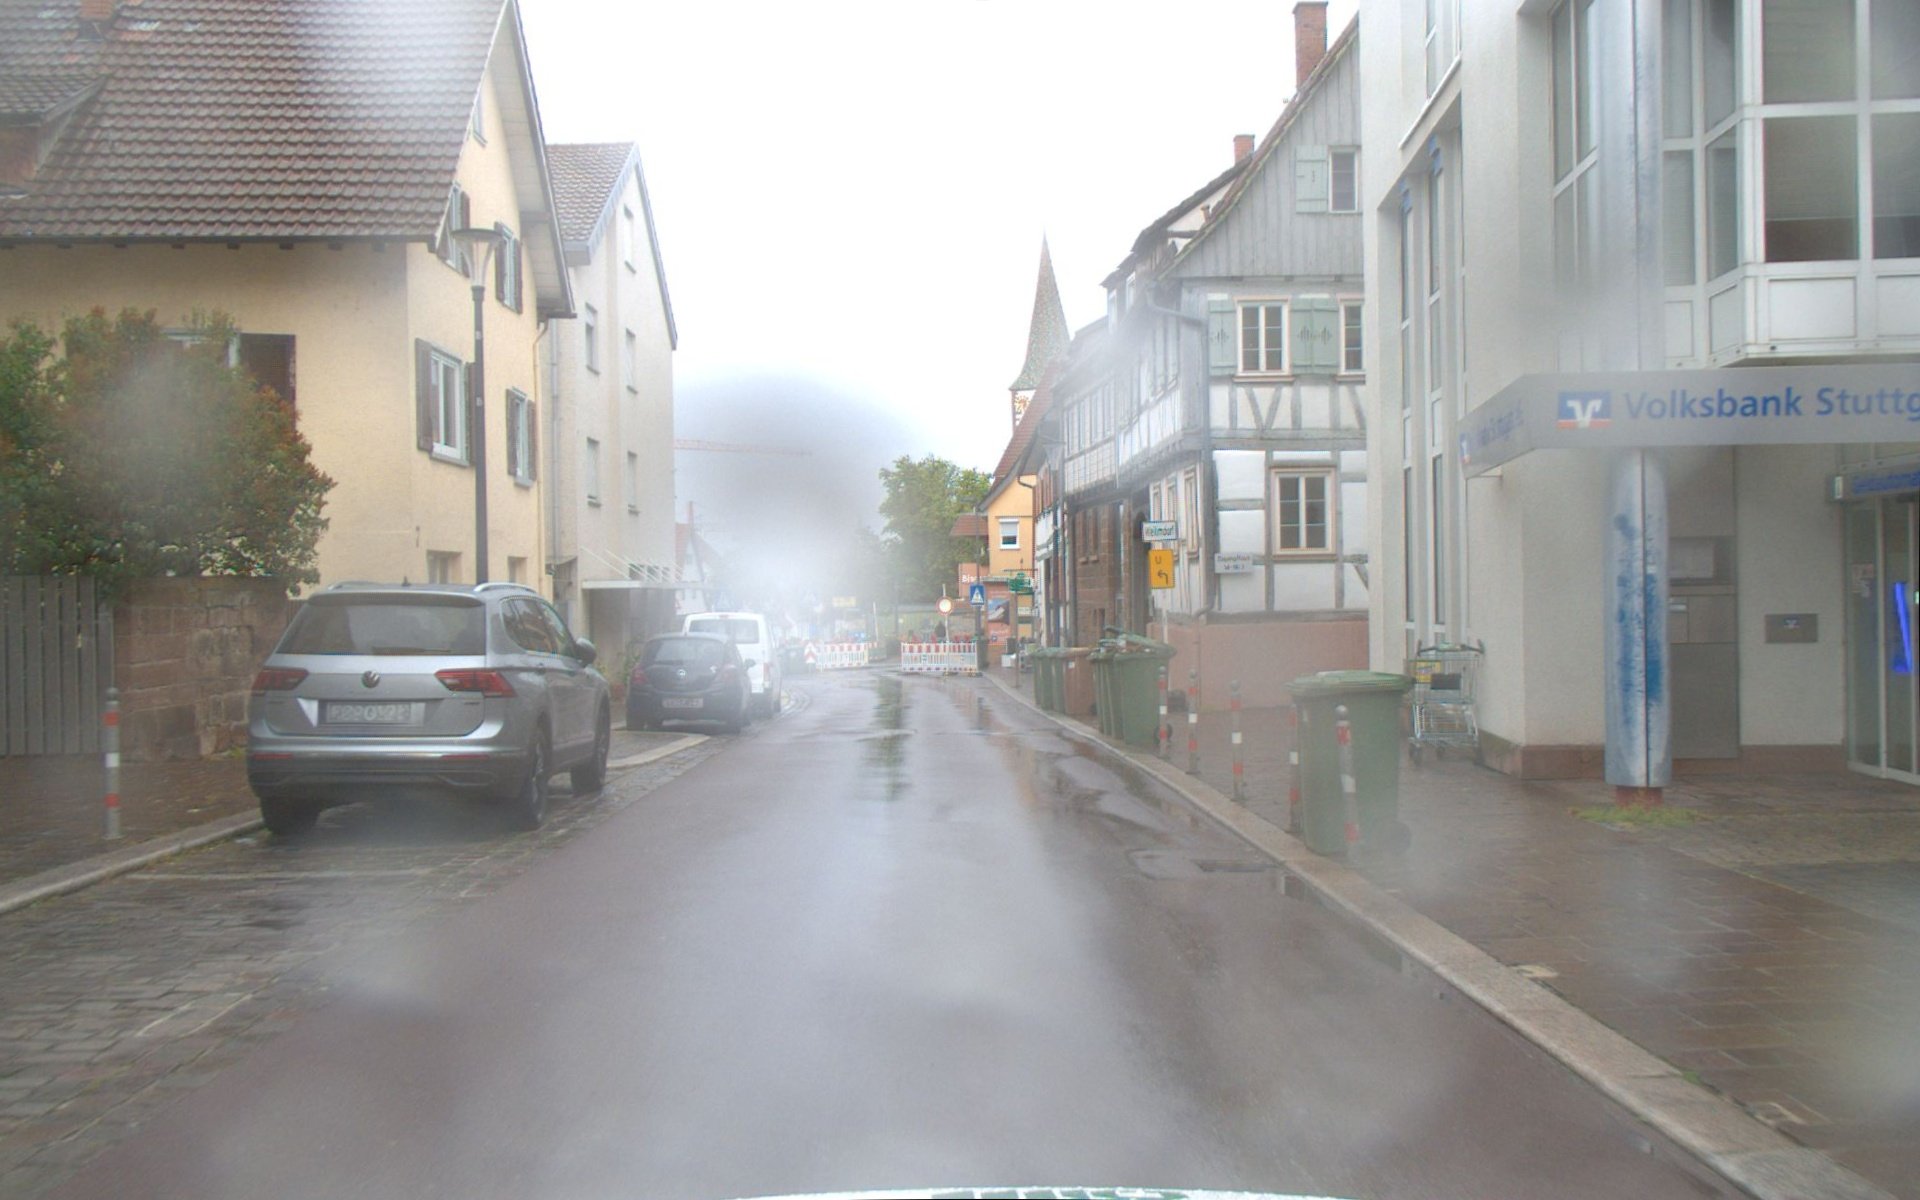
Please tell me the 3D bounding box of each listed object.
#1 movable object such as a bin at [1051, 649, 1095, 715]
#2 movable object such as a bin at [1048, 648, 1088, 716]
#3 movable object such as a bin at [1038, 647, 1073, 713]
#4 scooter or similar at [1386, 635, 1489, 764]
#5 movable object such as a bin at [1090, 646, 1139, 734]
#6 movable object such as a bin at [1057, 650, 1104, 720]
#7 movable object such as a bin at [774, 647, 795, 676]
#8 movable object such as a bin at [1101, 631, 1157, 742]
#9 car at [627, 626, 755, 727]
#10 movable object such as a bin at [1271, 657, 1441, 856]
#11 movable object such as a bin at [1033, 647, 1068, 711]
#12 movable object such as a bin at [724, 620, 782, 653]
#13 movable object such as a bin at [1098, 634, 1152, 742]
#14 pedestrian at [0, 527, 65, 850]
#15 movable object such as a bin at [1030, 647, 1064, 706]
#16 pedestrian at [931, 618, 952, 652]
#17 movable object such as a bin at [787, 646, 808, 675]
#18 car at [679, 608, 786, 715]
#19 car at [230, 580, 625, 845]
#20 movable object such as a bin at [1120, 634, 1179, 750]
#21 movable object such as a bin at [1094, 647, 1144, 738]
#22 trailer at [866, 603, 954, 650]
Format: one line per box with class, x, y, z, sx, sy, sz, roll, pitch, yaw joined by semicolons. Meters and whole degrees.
movable object such as a bin;1.950;1.406;28.533;0.656;1.100;0.587;-2;-2;-4
movable object such as a bin;1.903;1.442;29.232;0.625;1.167;0.631;0;-2;-4
movable object such as a bin;1.726;1.442;29.892;0.624;1.167;0.604;-1;-2;3
scooter or similar;4.497;0.918;15.647;0.651;1.166;1.446;-1;-2;5
movable object such as a bin;2.051;1.190;22.016;0.603;1.151;0.632;-1;-2;3
movable object such as a bin;1.981;1.393;27.266;0.665;1.116;0.649;0;-1;-6
movable object such as a bin;-6.570;2.304;62.024;0.530;1.055;0.571;-4;-3;31
movable object such as a bin;2.024;1.035;19.903;0.624;1.313;0.632;-1;-2;3
car;-4.058;1.142;25.417;1.648;1.413;3.821;0;-2;-5
movable object such as a bin;2.419;0.936;10.187;0.788;1.151;0.862;0;-2;-3
movable object such as a bin;1.665;1.452;30.513;0.624;1.167;0.580;-1;-2;3
movable object such as a bin;-13.346;2.343;106.672;3.333;2.049;3.477;-1;-2;-1
movable object such as a bin;2.053;1.089;20.641;0.624;1.313;0.632;-1;-2;3
pedestrian;-5.970;0.502;9.534;1.014;1.838;1.116;0;0;-2
movable object such as a bin;1.723;1.509;32.825;0.597;1.147;0.599;0;-2;-2
pedestrian;-0.962;1.849;86.724;0.971;1.790;0.850;0;-2;-8
movable object such as a bin;-6.051;2.256;61.662;0.533;1.051;0.533;-4;-4;31
car;-4.217;1.141;31.192;1.689;1.857;4.424;0;-2;-4
car;-3.689;0.740;12.296;1.744;1.596;4.404;0;-2;-4
movable object such as a bin;2.188;1.055;19.110;0.624;1.313;0.632;-1;-2;3
movable object such as a bin;2.039;1.180;21.323;0.603;1.151;0.632;-1;-2;3
trailer;-3.302;1.736;108.765;5.671;2.999;1.997;0;-2;-7
